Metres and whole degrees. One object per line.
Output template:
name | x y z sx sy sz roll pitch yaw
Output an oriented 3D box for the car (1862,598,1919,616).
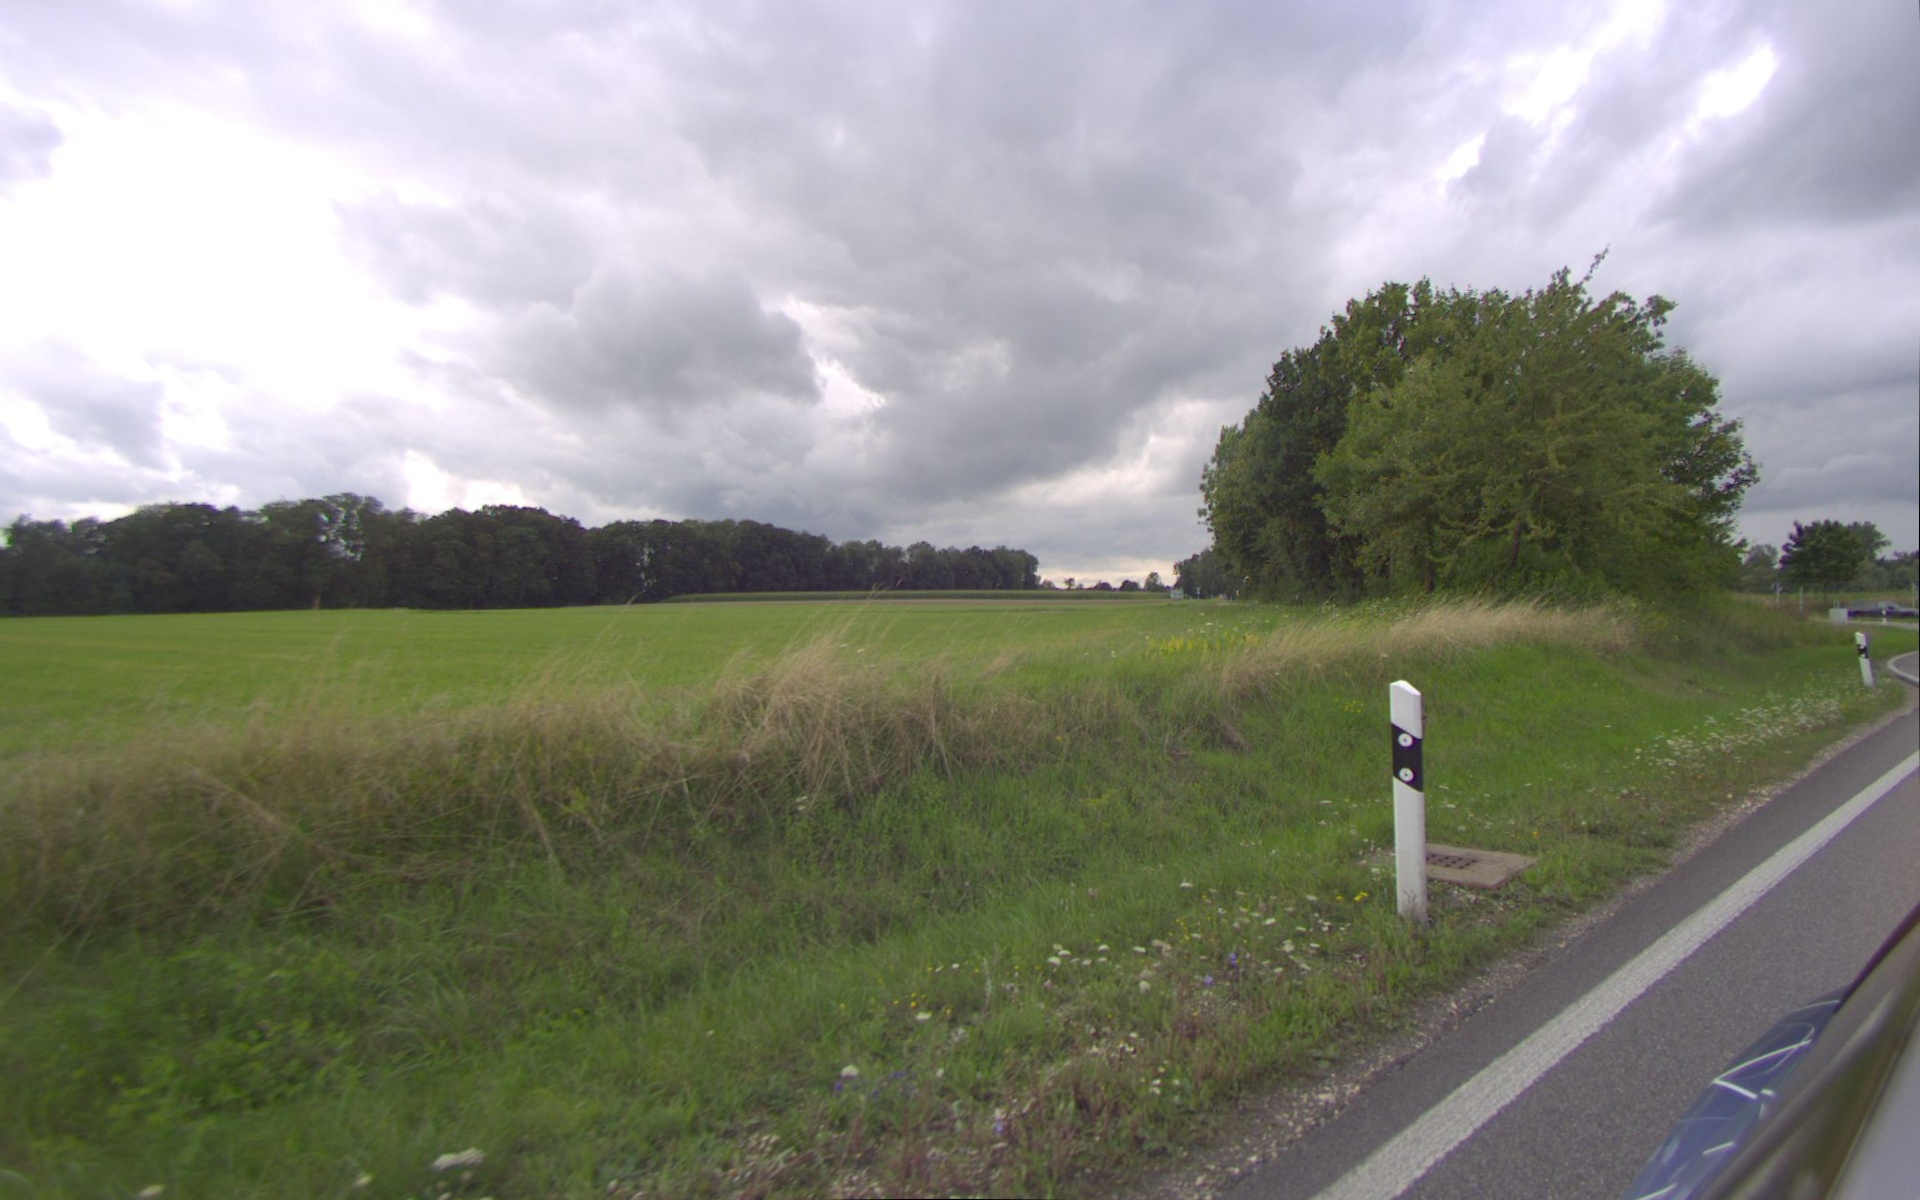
car | 66.790 0.461 71.497 1.830 1.237 4.348 0 0 -36
